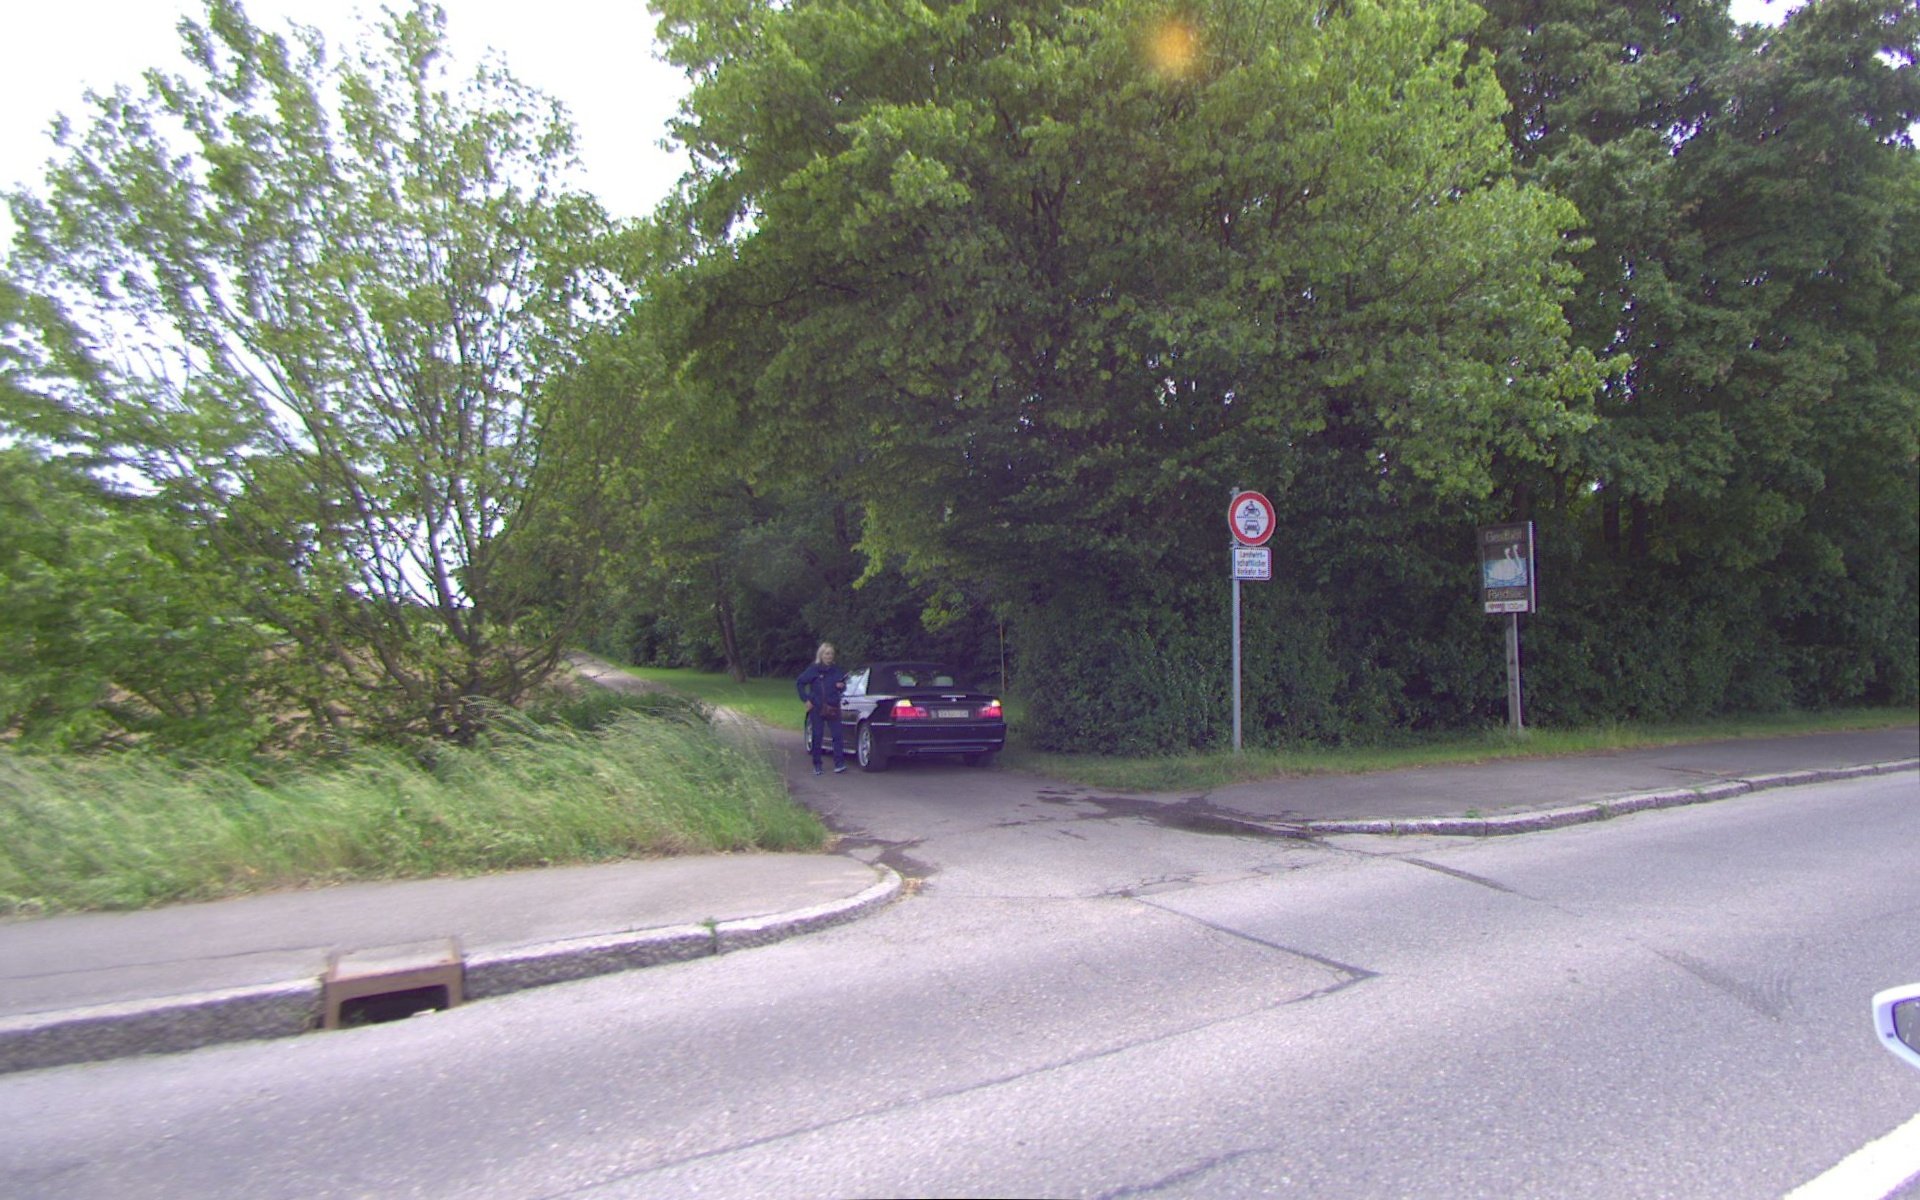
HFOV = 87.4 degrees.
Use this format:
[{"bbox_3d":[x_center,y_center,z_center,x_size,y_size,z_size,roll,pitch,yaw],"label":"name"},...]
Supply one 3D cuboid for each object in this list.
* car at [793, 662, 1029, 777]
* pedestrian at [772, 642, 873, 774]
[{"bbox_3d":[-0.823,1.513,13.741,1.723,1.315,3.973,2,-4,-28],"label":"car"},{"bbox_3d":[-1.733,1.311,12.587,0.930,1.550,1.031,2,-2,-29],"label":"pedestrian"}]
